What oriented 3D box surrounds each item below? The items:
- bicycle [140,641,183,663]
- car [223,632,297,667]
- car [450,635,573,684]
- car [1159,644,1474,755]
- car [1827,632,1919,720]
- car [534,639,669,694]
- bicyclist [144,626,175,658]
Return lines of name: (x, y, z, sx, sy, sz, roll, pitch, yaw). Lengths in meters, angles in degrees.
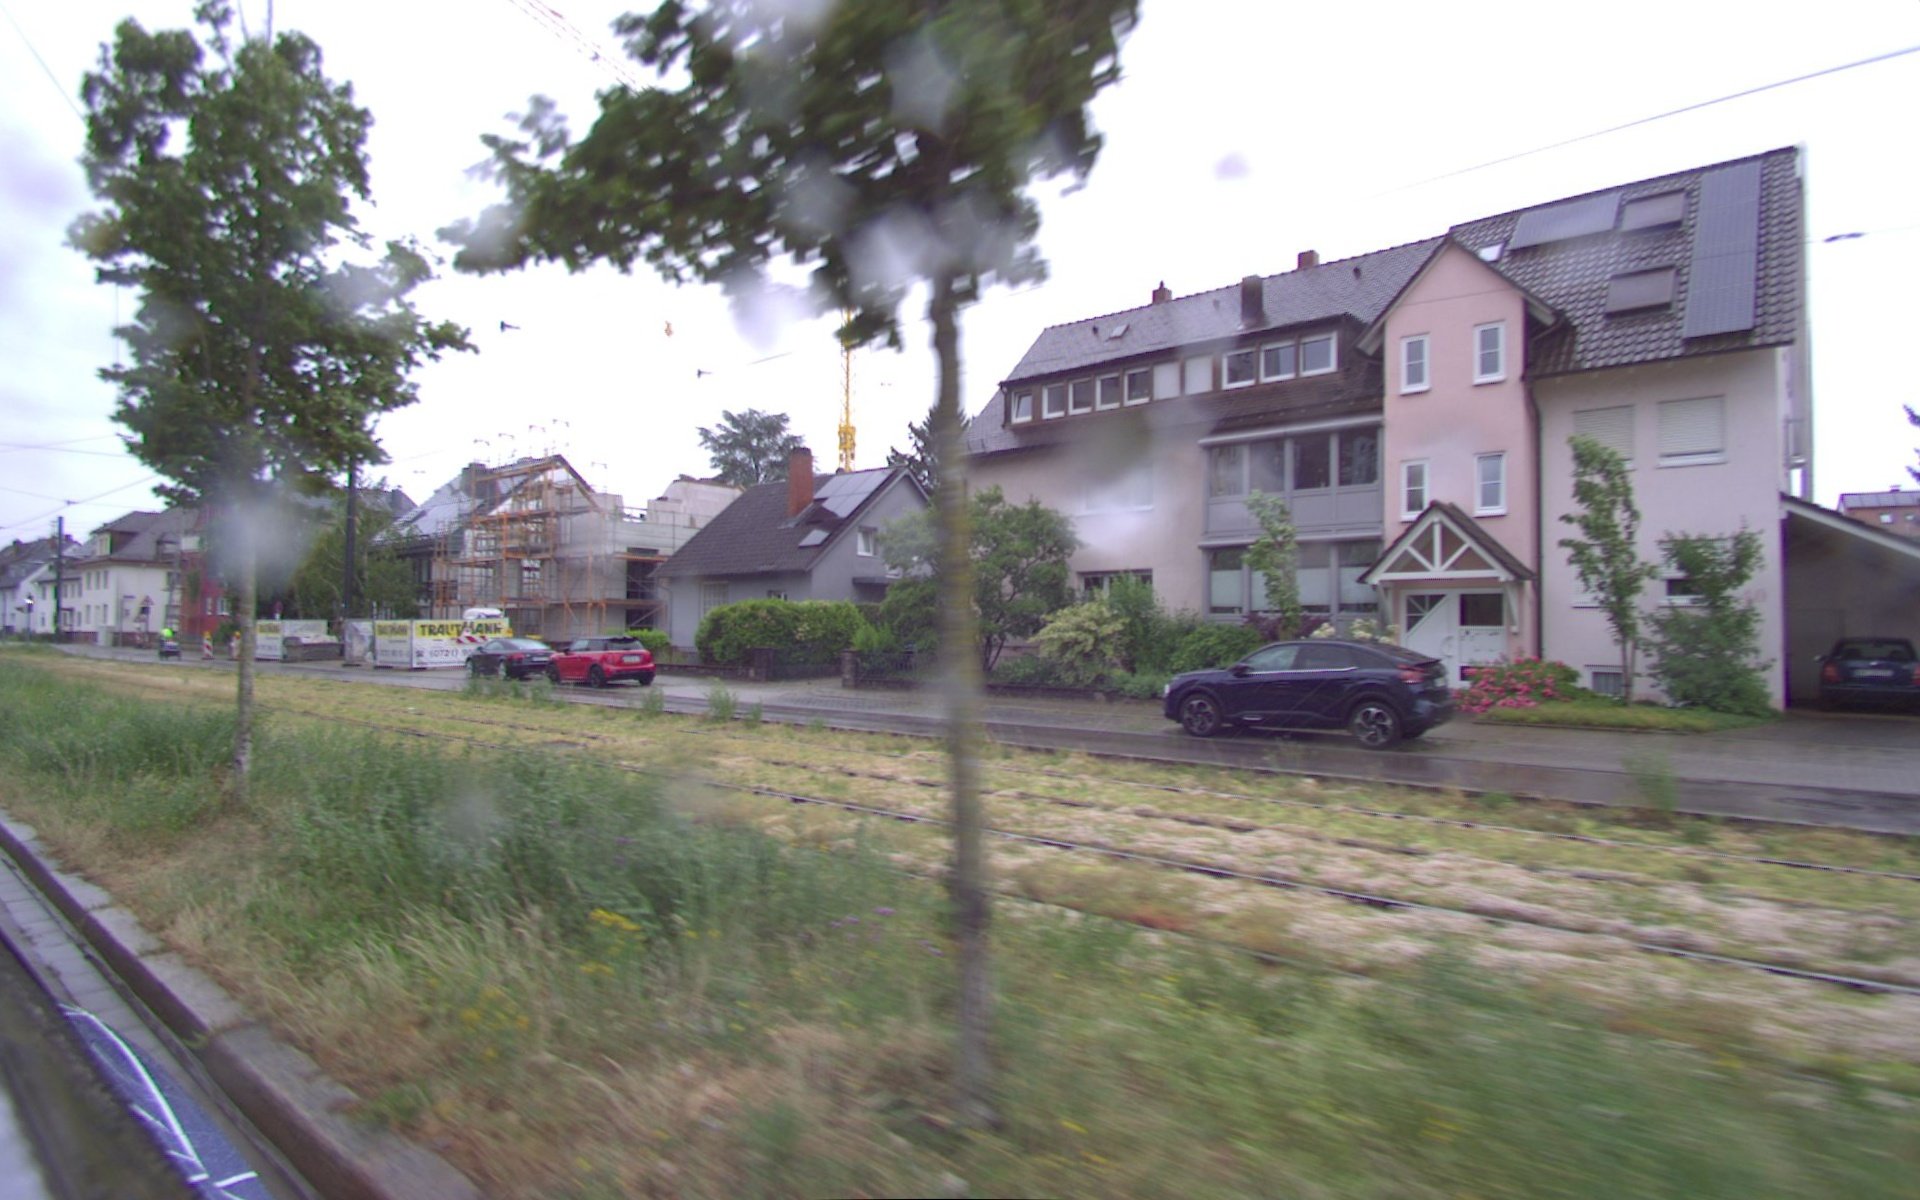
bicycle: (-40.588, 2.628, 51.427, 3.430, 1.051, 0.925, -1, -3, 39)
car: (-36.019, 2.484, 52.023, 4.245, 1.640, 1.974, 0, -1, 38)
car: (-14.421, 1.896, 32.462, 4.170, 1.420, 1.973, -3, -3, 40)
car: (5.355, 1.411, 15.492, 4.170, 1.437, 1.818, -2, -2, 40)
car: (18.120, 1.413, 19.705, 1.841, 1.512, 3.946, 0, -1, 40)
car: (-10.346, 1.859, 29.139, 3.840, 1.383, 1.973, 0, -1, 40)
bicyclist: (-40.911, 2.132, 51.723, 1.399, 1.596, 0.944, 0, -1, 40)
